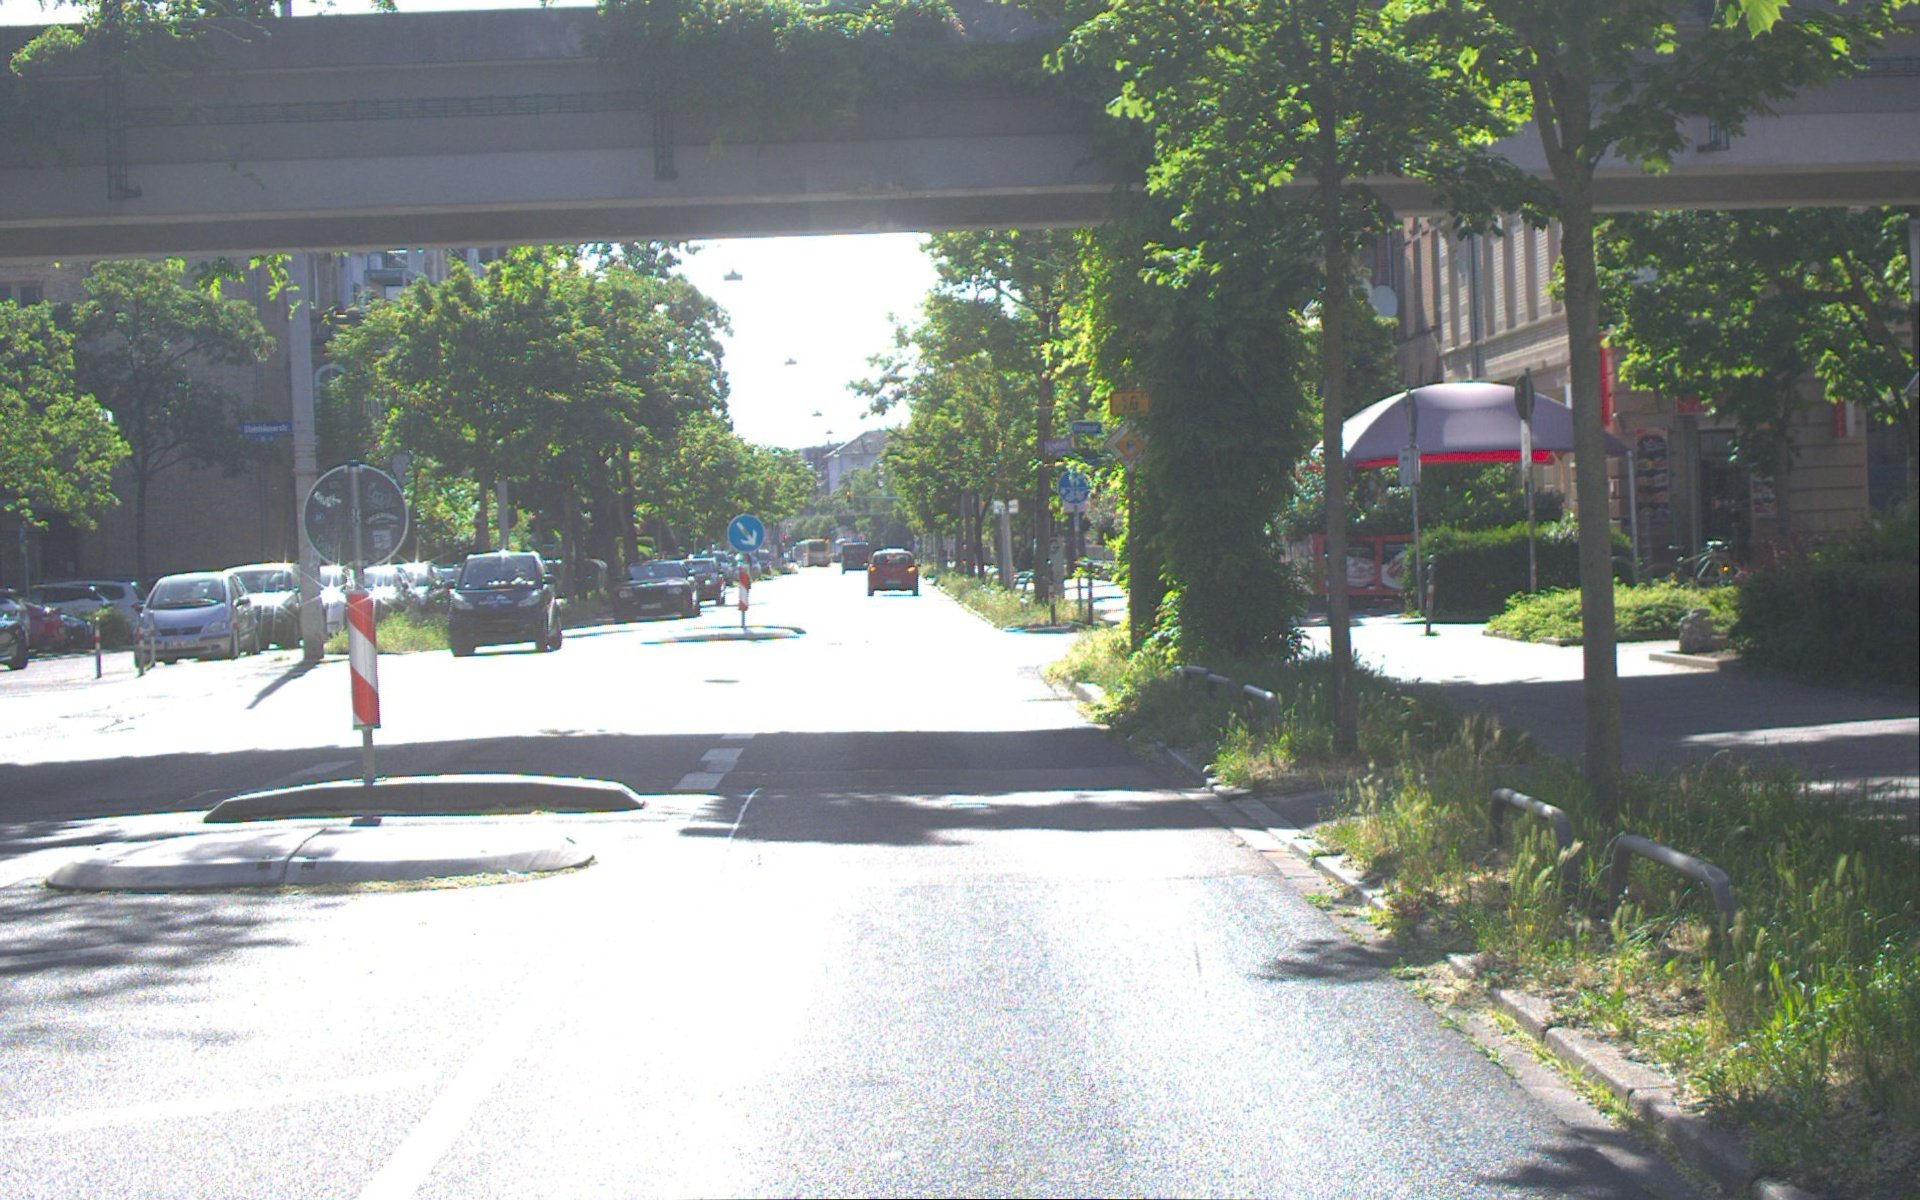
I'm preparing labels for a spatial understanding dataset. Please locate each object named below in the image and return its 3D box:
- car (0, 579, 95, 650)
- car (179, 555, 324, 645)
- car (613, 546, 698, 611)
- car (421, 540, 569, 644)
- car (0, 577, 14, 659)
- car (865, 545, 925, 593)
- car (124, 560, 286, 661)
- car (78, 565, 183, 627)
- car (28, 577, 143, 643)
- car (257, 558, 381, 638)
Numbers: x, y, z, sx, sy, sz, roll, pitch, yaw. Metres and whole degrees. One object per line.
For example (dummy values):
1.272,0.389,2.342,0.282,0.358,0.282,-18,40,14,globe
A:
-21.500,0.317,79.850,1.855,1.518,4.319,-1,1,-2,car
-12.781,-0.025,62.245,1.855,1.518,4.319,-1,1,-2,car
-7.468,-0.543,84.620,1.855,1.518,4.319,-1,1,-2,car
-7.187,-0.155,53.491,1.855,1.518,4.319,-1,1,-2,car
-18.944,0.380,63.541,1.855,1.518,4.319,-1,1,-2,car
-2.145,-1.047,114.087,1.856,1.518,4.319,-1,1,0,car
-12.221,0.145,55.877,1.855,1.518,4.078,-1,1,-2,car
-21.782,-0.131,90.394,1.855,1.518,4.319,-1,1,-2,car
-21.546,0.225,84.852,1.855,1.518,4.319,-1,1,-2,car
-13.052,-0.067,70.187,1.855,1.518,4.319,-1,1,-2,car
